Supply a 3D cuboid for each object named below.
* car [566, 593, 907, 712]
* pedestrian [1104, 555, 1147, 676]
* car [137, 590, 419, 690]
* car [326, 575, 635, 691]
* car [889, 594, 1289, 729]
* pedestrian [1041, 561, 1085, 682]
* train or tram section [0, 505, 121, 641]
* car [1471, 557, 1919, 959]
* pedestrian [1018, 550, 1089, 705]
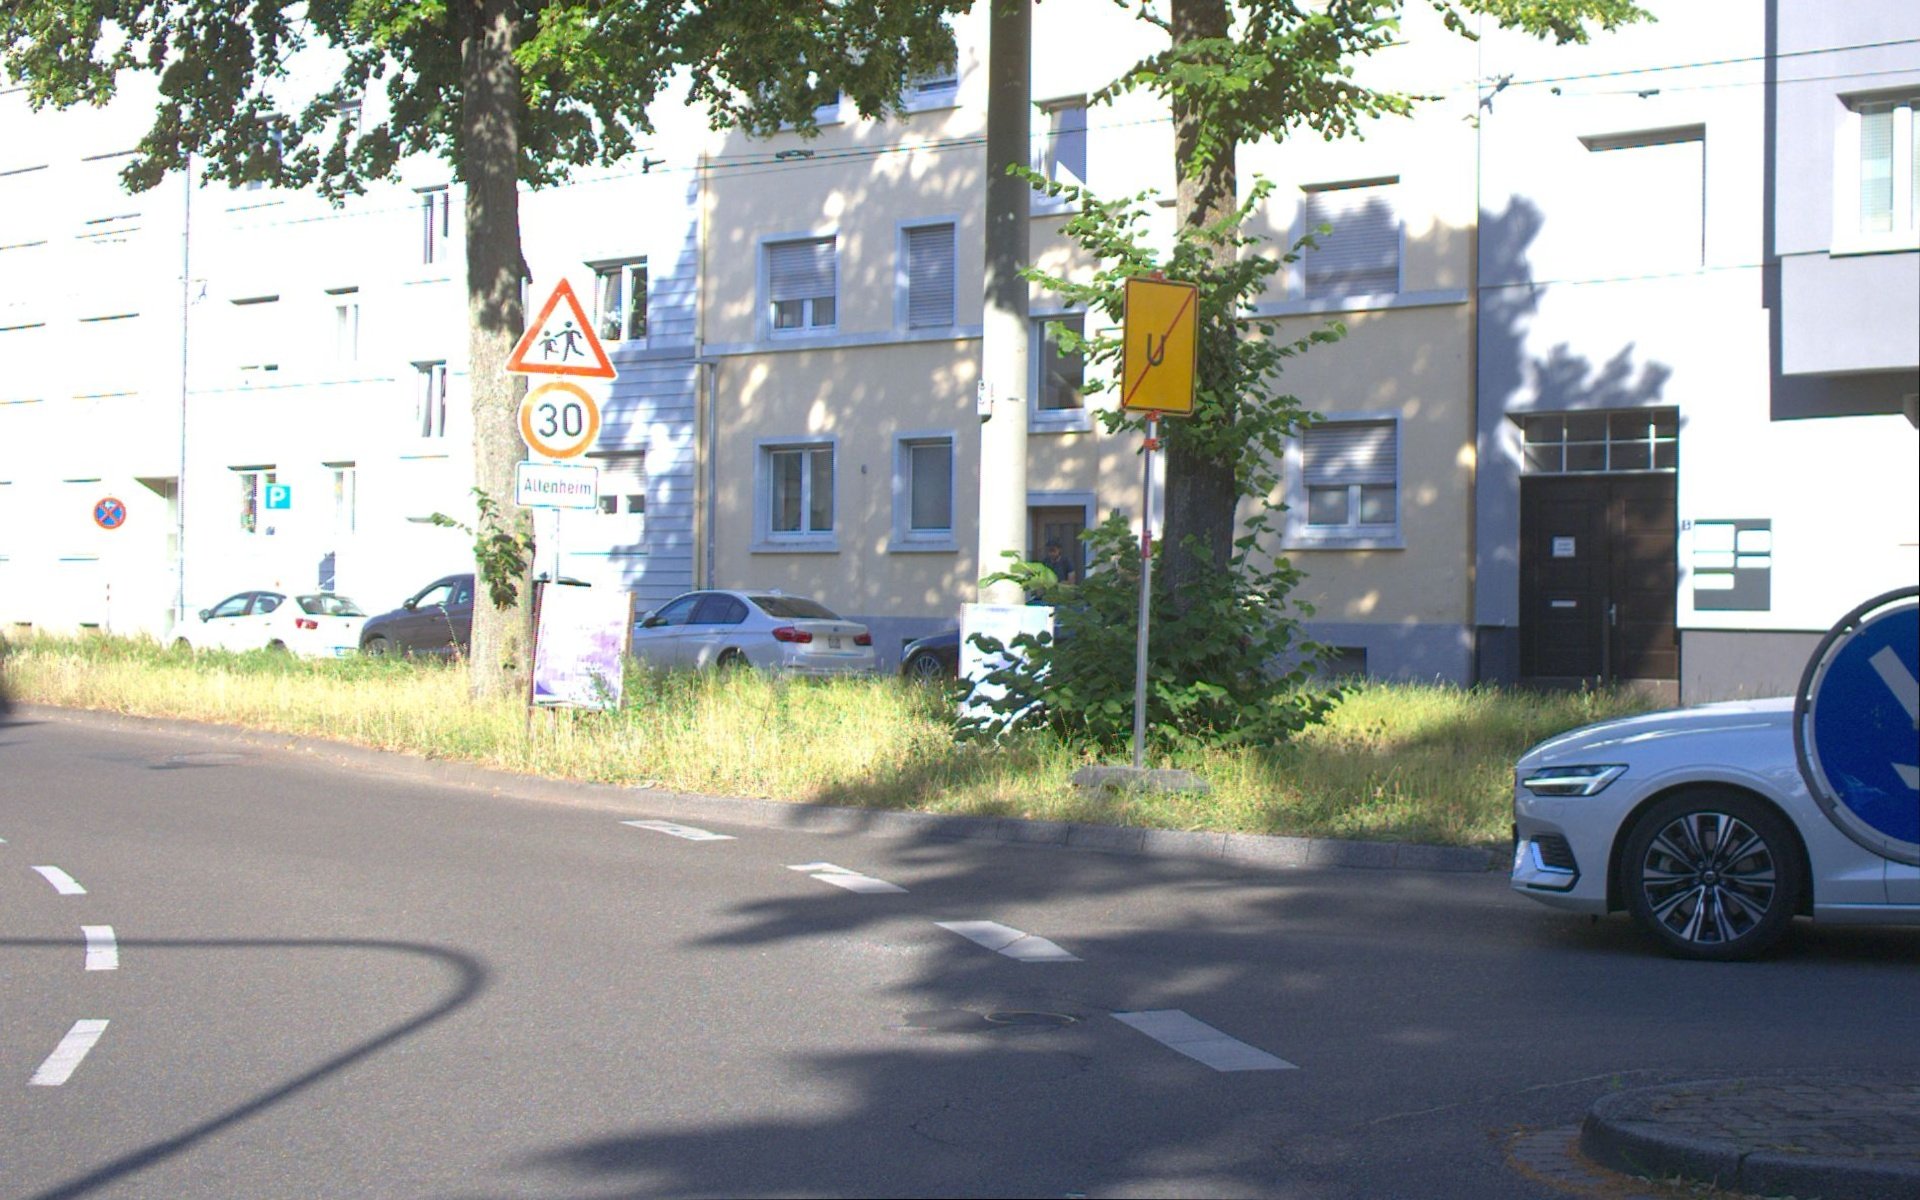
[{"bbox_3d":[-2.955,0.645,44.693,1.995,1.382,4.444,0,1,-44],"label":"car"},{"bbox_3d":[2.088,0.189,43.299,0.443,1.509,0.304,1,1,39],"label":"pedestrian"},{"bbox_3d":[-10.481,0.587,52.660,4.443,1.382,1.995,2,1,43],"label":"car"},{"bbox_3d":[-6.856,0.448,48.847,1.995,1.567,4.638,0,0,-44],"label":"car"},{"bbox_3d":[1.436,0.671,39.658,1.995,1.382,4.444,0,1,-44],"label":"car"},{"bbox_3d":[1.293,0.266,43.225,0.443,1.509,0.332,1,1,42],"label":"pedestrian"},{"bbox_3d":[-26.272,-0.722,89.838,2.779,3.543,9.906,1,0,25],"label":"train or tram section"},{"bbox_3d":[4.514,0.602,13.378,4.761,1.458,1.853,1,1,17],"label":"car"},{"bbox_3d":[1.221,0.357,44.875,0.612,2.007,0.649,1,0,-44],"label":"pedestrian"}]
